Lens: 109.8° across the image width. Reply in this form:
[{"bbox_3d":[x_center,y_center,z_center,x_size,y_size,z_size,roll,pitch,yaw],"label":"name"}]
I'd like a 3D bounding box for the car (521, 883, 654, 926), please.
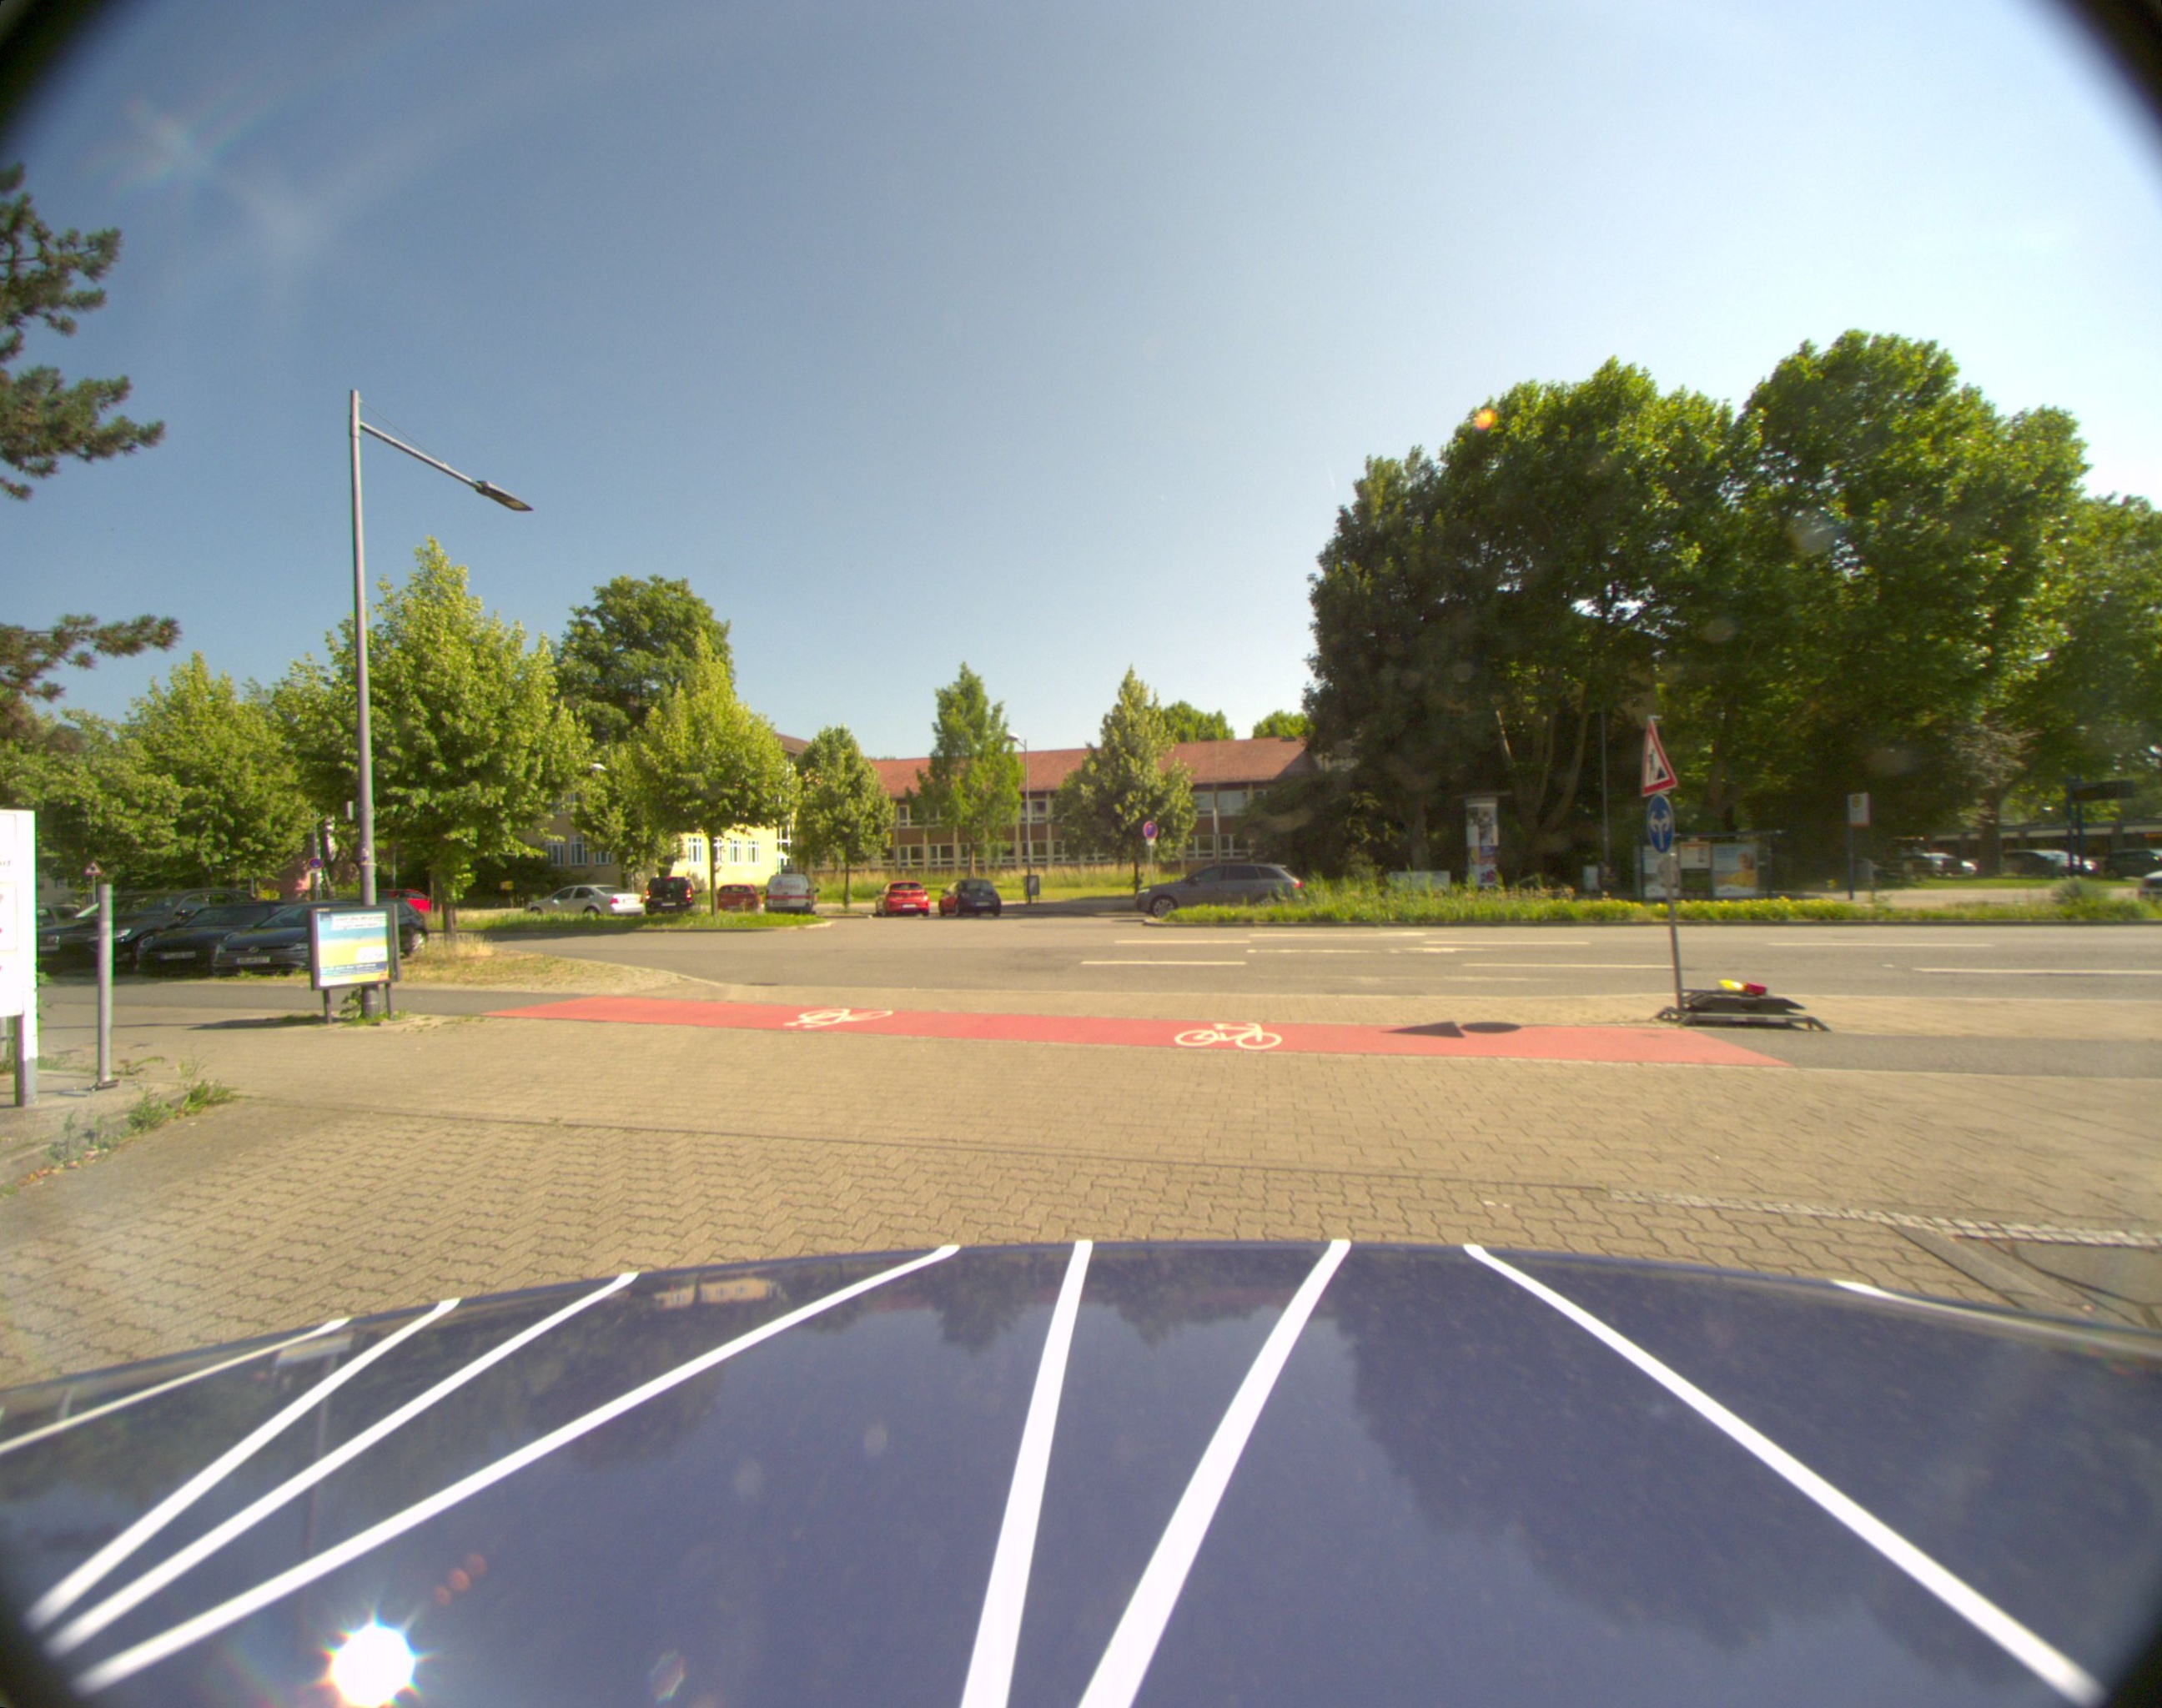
[{"bbox_3d":[-18.482,1.878,28.496,4.153,1.475,1.742,-2,-1,13],"label":"car"}]

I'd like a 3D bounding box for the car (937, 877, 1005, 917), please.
[{"bbox_3d":[-4.452,1.697,30.293,1.743,1.450,4.220,-1,-2,-22],"label":"car"}]

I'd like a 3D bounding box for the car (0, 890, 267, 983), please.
[{"bbox_3d":[-20.985,1.714,17.095,1.706,1.709,4.398,-1,-2,-18],"label":"car"}]

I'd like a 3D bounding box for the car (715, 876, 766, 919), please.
[{"bbox_3d":[-14.685,1.835,32.732,1.884,1.711,4.219,1,-3,-25],"label":"car"}]

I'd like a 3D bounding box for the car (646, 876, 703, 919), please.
[{"bbox_3d":[-17.384,1.856,32.643,1.884,1.711,4.219,1,-3,-25],"label":"car"}]

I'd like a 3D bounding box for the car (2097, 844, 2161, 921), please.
[{"bbox_3d":[27.384,0.615,17.572,4.383,1.758,2.002,-2,0,13],"label":"car"}]

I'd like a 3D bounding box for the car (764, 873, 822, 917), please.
[{"bbox_3d":[-12.071,1.712,32.092,1.882,1.711,4.222,0,-2,-15],"label":"car"}]

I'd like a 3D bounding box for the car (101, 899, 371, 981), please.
[{"bbox_3d":[-18.341,1.785,16.861,1.882,1.472,4.223,-1,-2,-12],"label":"car"}]

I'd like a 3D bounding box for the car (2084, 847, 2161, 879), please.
[{"bbox_3d":[52.671,0.467,37.264,1.866,1.503,4.004,-1,-3,8],"label":"car"}]

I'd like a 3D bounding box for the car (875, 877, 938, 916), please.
[{"bbox_3d":[-7.174,1.691,30.900,1.883,1.450,4.220,0,-3,-22],"label":"car"}]

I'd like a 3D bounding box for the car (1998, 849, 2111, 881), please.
[{"bbox_3d":[54.911,0.651,42.981,1.865,1.678,4.006,-1,-3,15],"label":"car"}]

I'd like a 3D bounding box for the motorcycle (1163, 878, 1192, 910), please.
[{"bbox_3d":[3.524,1.445,27.983,0.557,1.107,1.758,-1,-1,-9],"label":"motorcycle"}]

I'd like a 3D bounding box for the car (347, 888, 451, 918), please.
[{"bbox_3d":[-33.248,2.378,37.193,1.881,1.382,3.727,0,-3,-4],"label":"car"}]

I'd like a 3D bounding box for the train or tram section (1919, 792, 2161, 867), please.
[{"bbox_3d":[66.448,-1.358,52.839,2.324,4.463,15.945,-1,-1,13],"label":"train or tram section"}]

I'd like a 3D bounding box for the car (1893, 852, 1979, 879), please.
[{"bbox_3d":[56.620,0.802,50.445,1.865,1.678,4.006,-1,-3,15],"label":"car"}]

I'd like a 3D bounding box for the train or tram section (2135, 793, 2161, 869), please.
[{"bbox_3d":[62.904,-1.433,38.200,2.324,4.463,14.962,-1,-1,14],"label":"train or tram section"}]

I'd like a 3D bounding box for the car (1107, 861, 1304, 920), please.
[{"bbox_3d":[3.769,1.140,23.065,5.649,1.601,2.003,-2,-3,13],"label":"car"}]

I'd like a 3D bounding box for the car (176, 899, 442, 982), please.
[{"bbox_3d":[-15.754,1.680,15.904,1.882,1.408,4.223,-1,-2,-12],"label":"car"}]
